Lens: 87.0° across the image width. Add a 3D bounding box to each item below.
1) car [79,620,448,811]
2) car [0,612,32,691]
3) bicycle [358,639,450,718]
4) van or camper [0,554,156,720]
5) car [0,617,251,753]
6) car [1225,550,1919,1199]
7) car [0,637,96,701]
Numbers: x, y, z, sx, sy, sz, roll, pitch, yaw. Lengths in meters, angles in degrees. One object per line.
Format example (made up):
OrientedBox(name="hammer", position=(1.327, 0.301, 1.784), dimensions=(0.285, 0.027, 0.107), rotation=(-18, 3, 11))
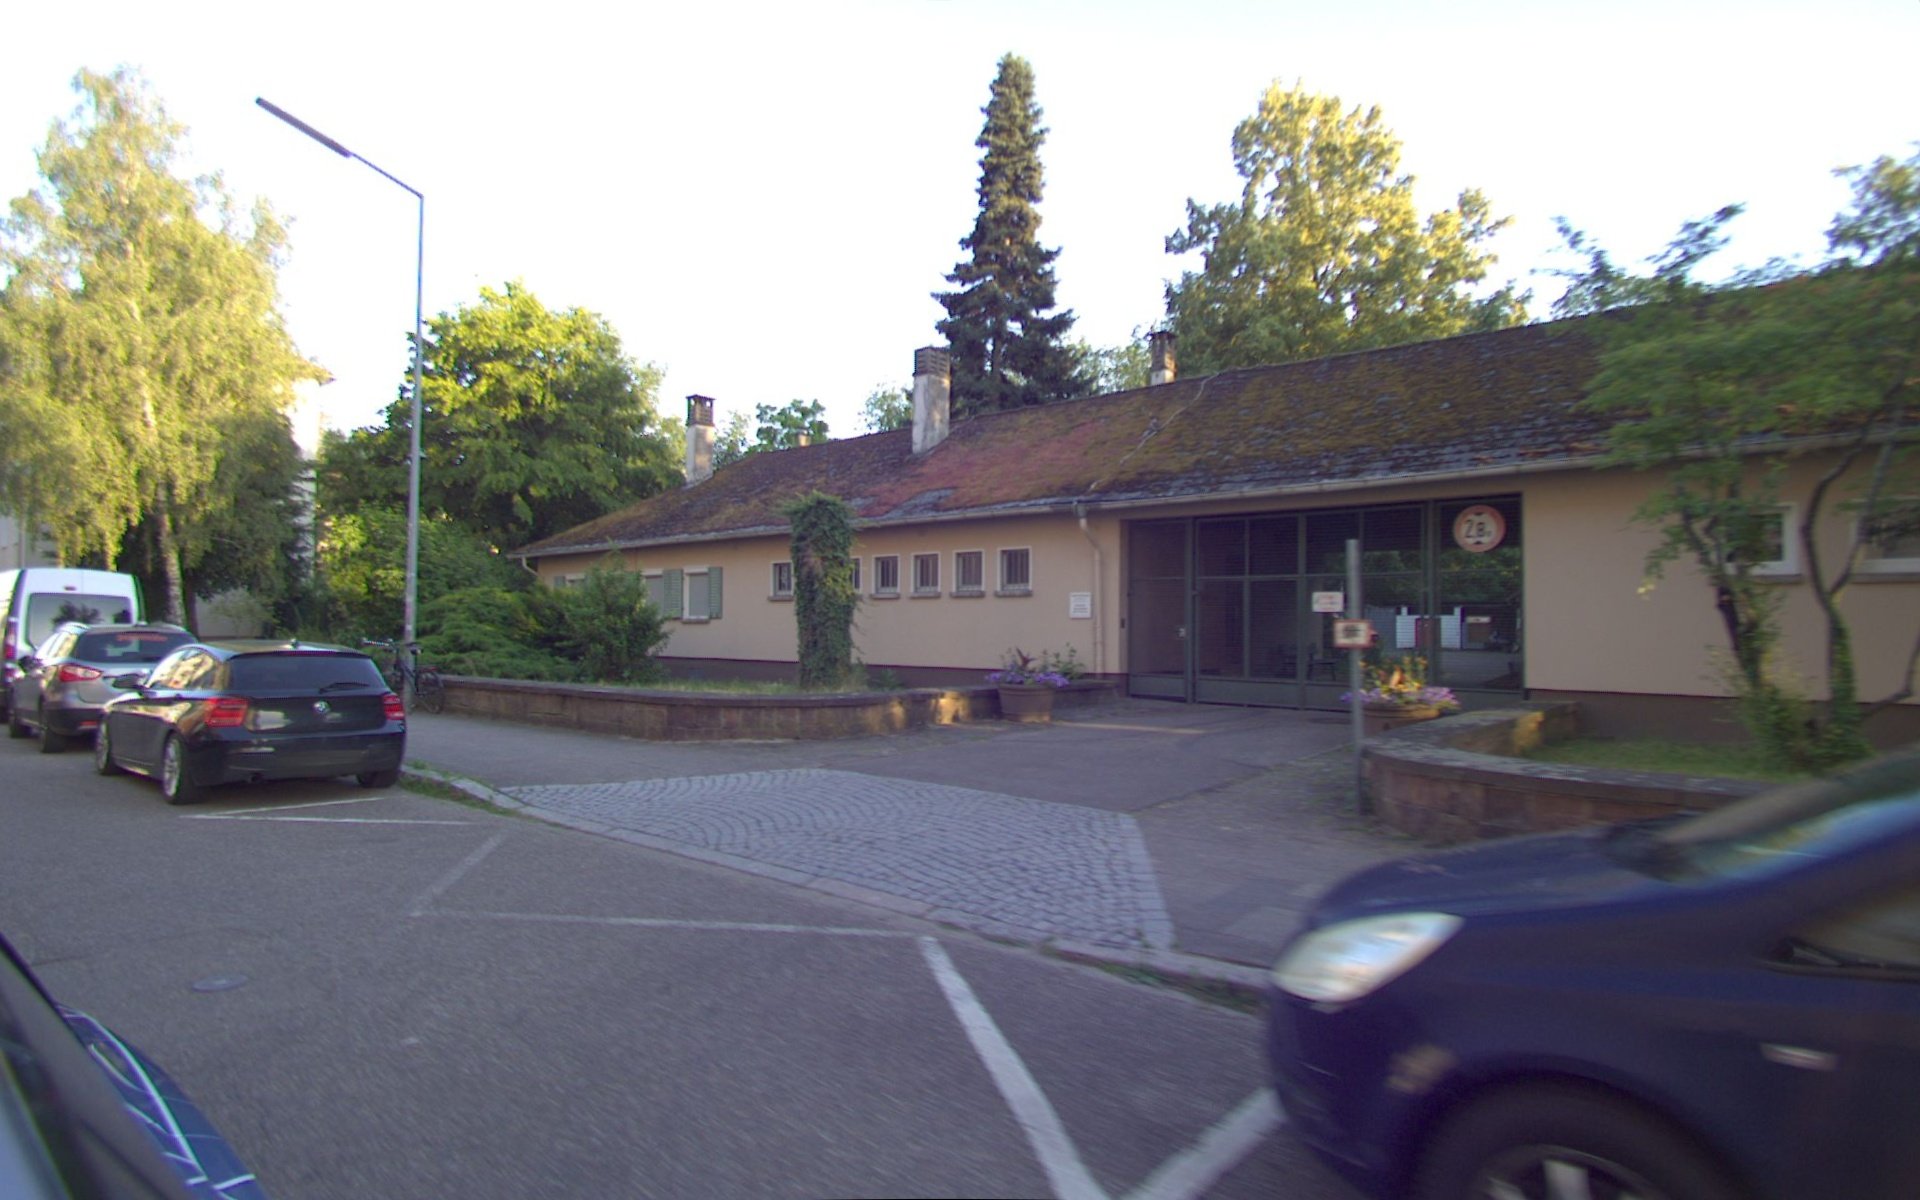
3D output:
OrientedBox(name="car", position=(-6.961, 0.945, 9.949), dimensions=(4.285, 1.464, 1.973), rotation=(-2, -2, 41))
OrientedBox(name="car", position=(-24.146, 1.218, 24.394), dimensions=(4.944, 1.802, 1.891), rotation=(-2, -3, 39))
OrientedBox(name="bicycle", position=(-8.490, 1.164, 15.424), dimensions=(1.953, 1.126, 0.538), rotation=(-2, -1, 39))
OrientedBox(name="van or camper", position=(-16.073, 0.640, 17.691), dimensions=(6.078, 2.475, 1.973), rotation=(-2, -2, 40))
OrientedBox(name="car", position=(-11.514, 1.024, 13.759), dimensions=(4.786, 1.530, 1.973), rotation=(-2, -2, 41))
OrientedBox(name="car", position=(2.772, 0.652, 1.829), dimensions=(3.994, 1.464, 1.975), rotation=(-1, -2, 37))
OrientedBox(name="car", position=(-19.957, 1.397, 21.137), dimensions=(4.027, 1.198, 1.976), rotation=(-1, -2, 35))
